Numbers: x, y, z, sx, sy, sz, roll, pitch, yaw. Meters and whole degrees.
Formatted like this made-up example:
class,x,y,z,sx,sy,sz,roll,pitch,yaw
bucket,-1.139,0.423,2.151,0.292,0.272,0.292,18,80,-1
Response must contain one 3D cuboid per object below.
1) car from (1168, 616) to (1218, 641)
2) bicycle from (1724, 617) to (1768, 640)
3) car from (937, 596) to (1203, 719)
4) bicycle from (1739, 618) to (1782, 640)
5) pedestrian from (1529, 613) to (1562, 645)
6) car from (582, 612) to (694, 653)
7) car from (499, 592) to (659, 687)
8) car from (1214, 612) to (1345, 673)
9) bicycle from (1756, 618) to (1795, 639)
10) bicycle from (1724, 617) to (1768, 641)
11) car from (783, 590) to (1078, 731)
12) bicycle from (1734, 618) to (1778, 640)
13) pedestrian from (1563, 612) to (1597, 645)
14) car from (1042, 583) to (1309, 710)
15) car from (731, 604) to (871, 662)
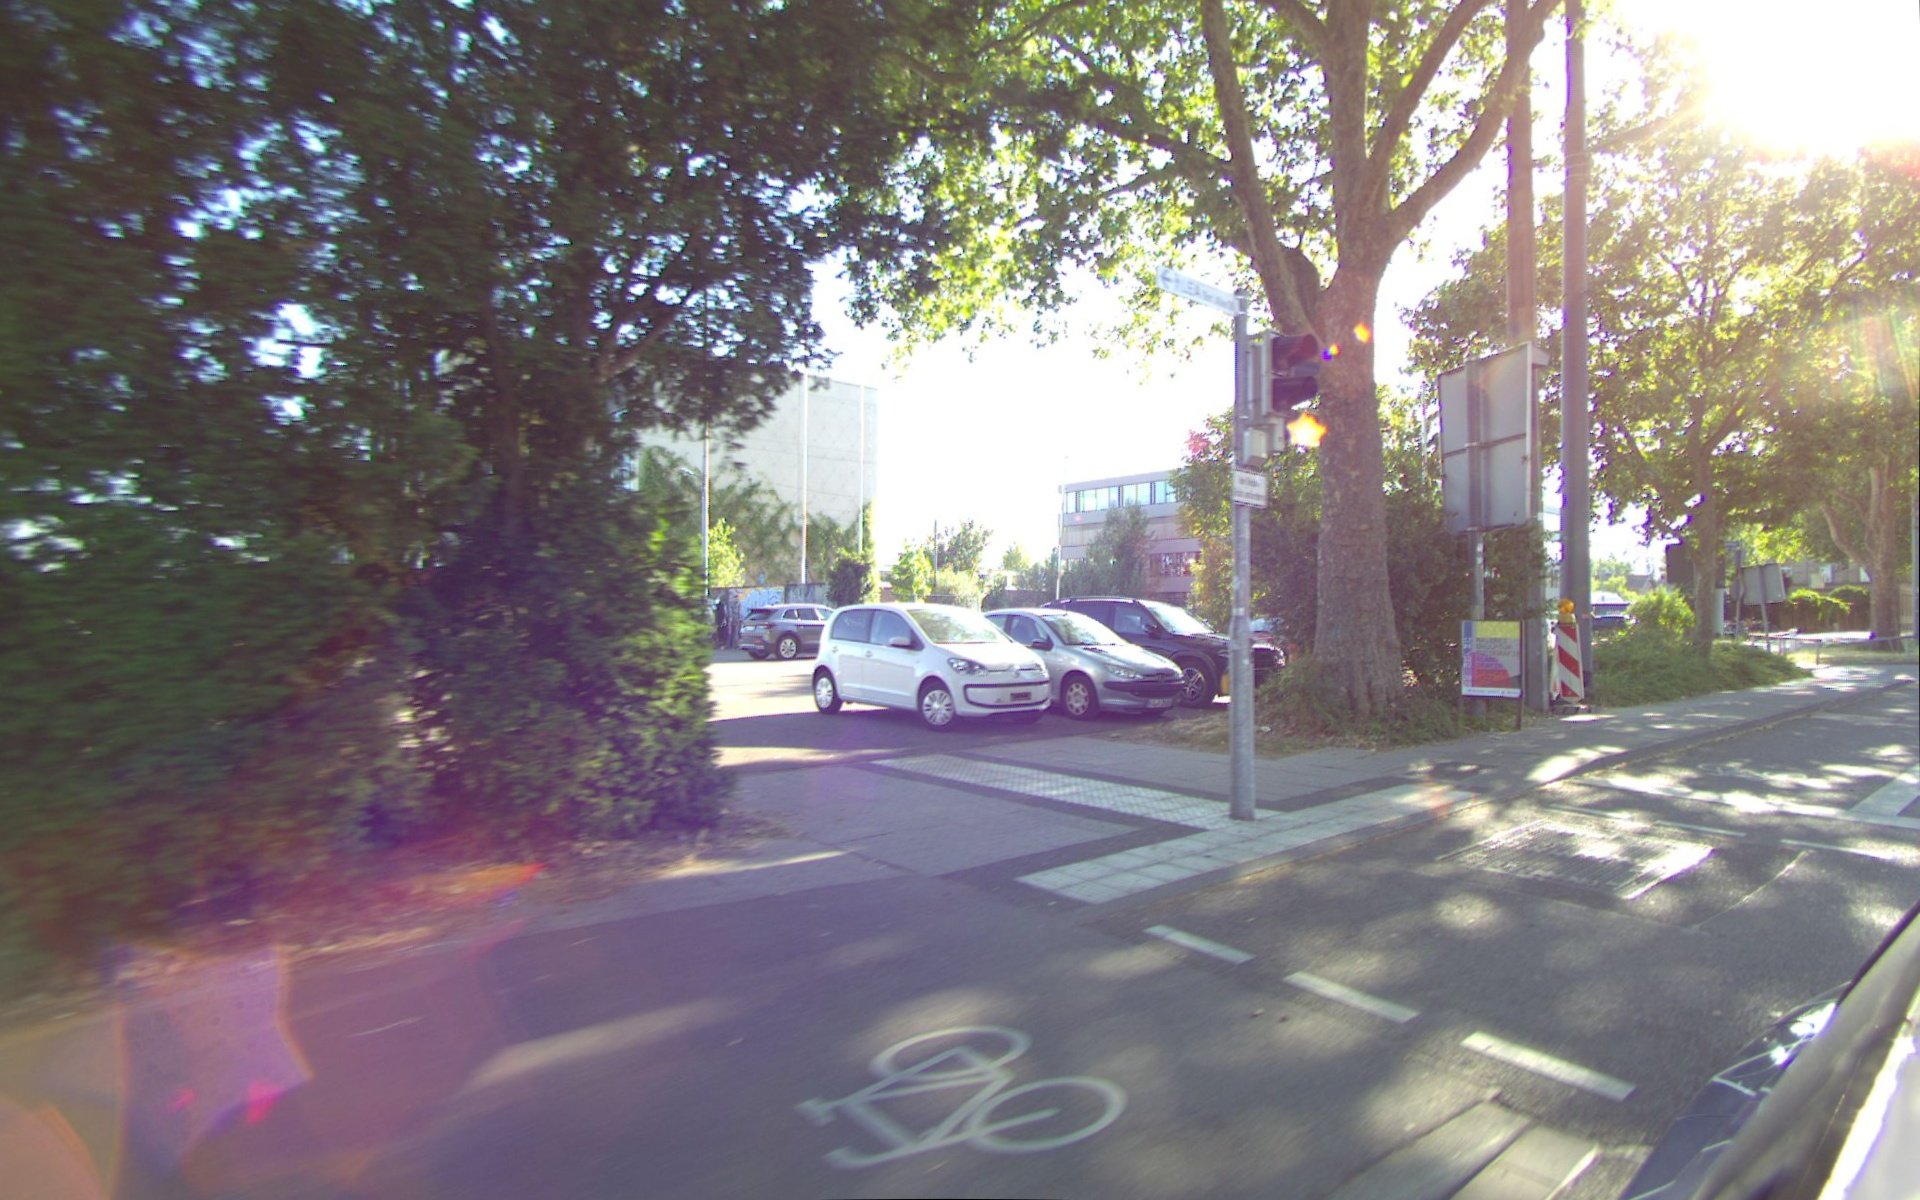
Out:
class,x,y,z,sx,sy,sz,roll,pitch,yaw
car,15.786,1.925,68.737,1.821,1.633,4.371,0,-1,-8
bicycle,41.587,1.503,53.549,0.432,1.135,1.776,1,-1,-41
car,1.427,0.736,14.183,1.648,1.481,3.601,1,-2,-39
bicycle,43.315,1.543,54.747,0.432,1.135,1.776,1,-1,-41
pedestrian,37.216,1.833,64.355,1.027,2.040,1.397,0,-2,-28
car,-13.085,1.305,41.244,3.933,1.576,1.919,1,-2,-44
car,-7.755,0.753,20.340,1.881,1.680,4.471,1,-2,-36
car,8.613,1.099,27.143,3.736,1.535,1.617,1,-2,-41
bicycle,46.333,1.591,57.491,0.432,1.135,1.690,1,-1,-41
bicycle,40.199,1.478,51.764,1.772,1.135,0.432,0,-1,43
car,-0.515,0.703,13.107,1.854,1.524,3.894,1,-2,-39
bicycle,42.506,1.522,54.051,0.432,1.135,1.776,1,-1,-41
pedestrian,38.936,1.785,63.561,1.027,2.040,1.397,0,-2,-28
car,3.362,0.694,16.405,1.800,1.787,3.994,1,-2,-39
car,-4.716,0.963,30.355,3.930,1.630,1.568,1,-2,-41
